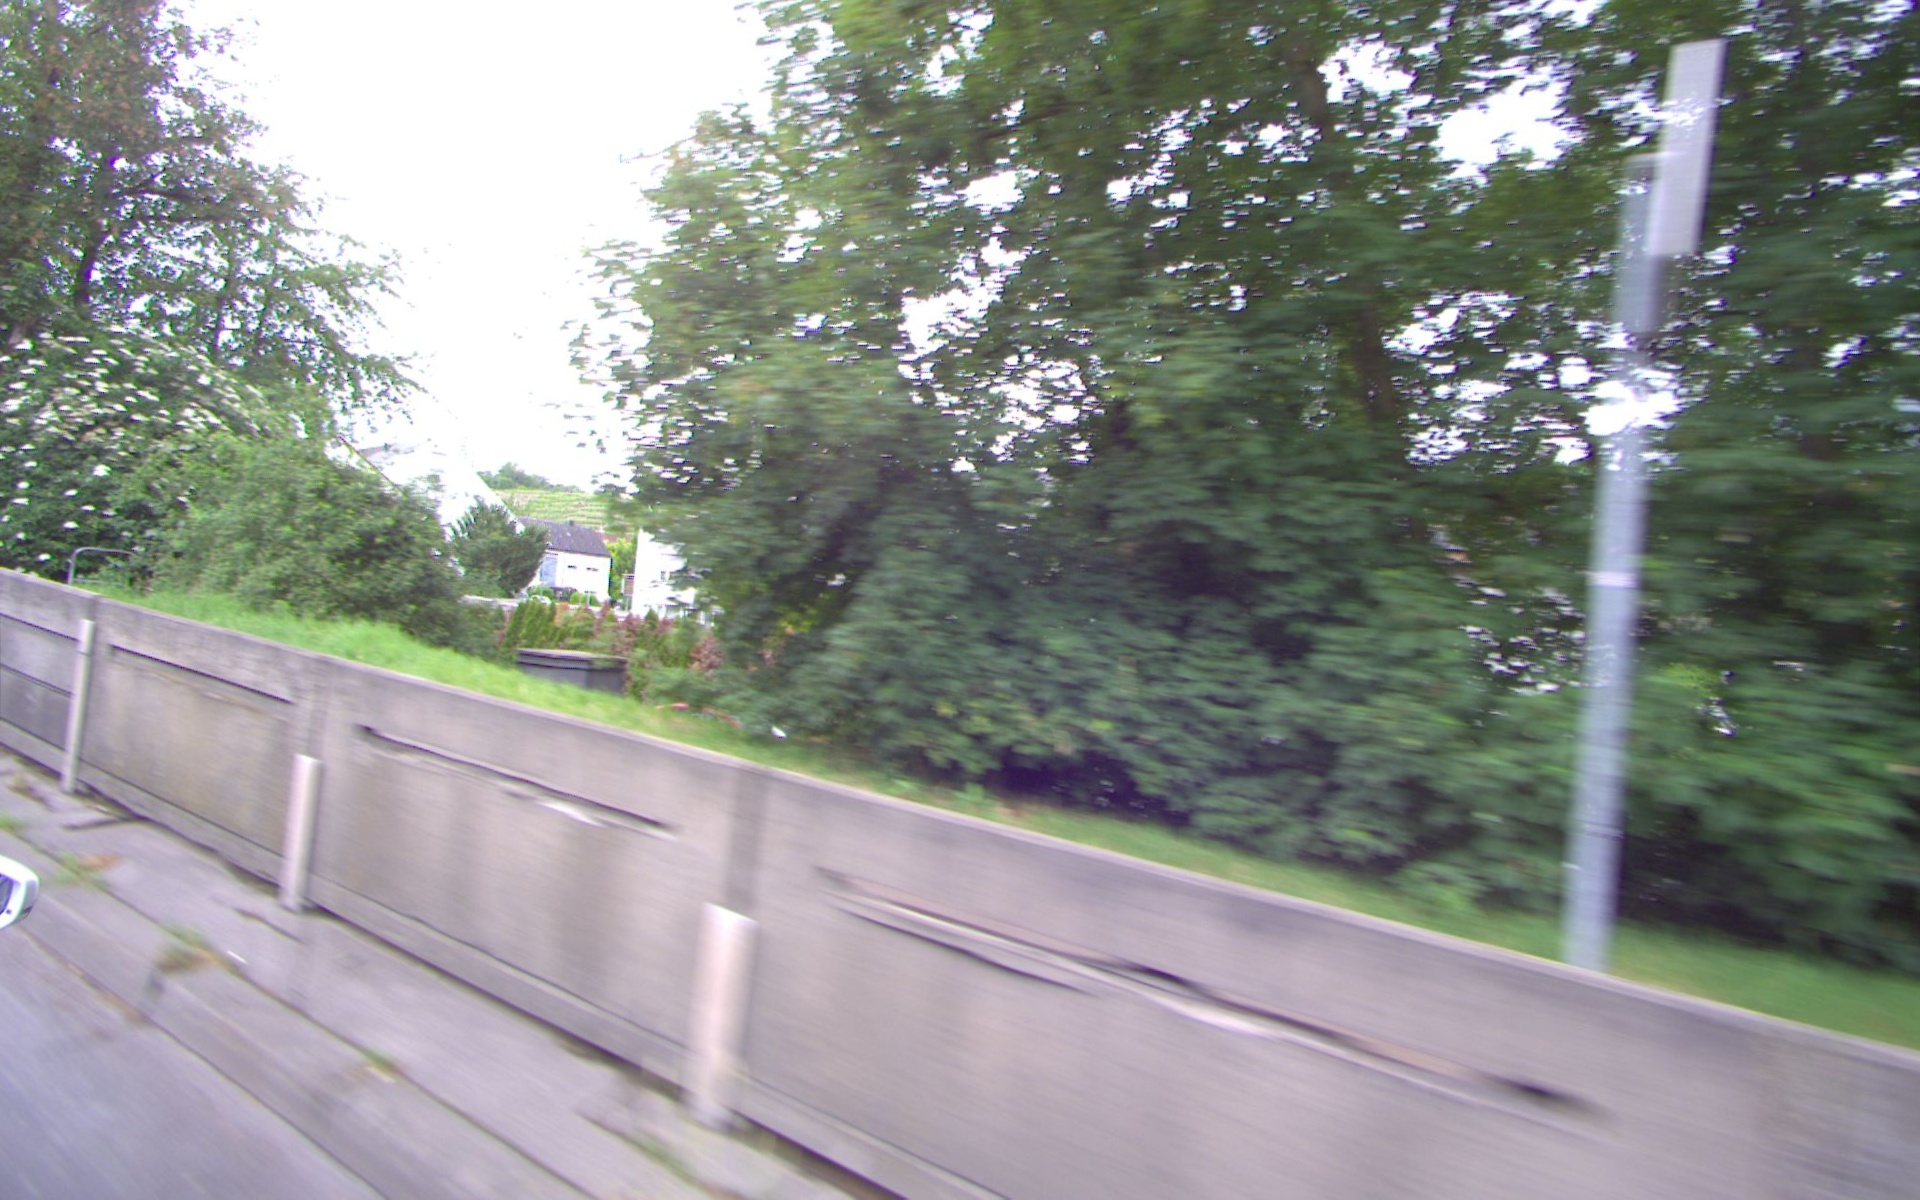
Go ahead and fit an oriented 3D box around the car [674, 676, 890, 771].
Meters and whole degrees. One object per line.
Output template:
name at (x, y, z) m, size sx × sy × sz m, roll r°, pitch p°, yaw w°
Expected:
car at (-3.514, 2.375, 19.736) m, size 3.932 × 1.276 × 1.629 m, roll 5°, pitch -3°, yaw 29°
